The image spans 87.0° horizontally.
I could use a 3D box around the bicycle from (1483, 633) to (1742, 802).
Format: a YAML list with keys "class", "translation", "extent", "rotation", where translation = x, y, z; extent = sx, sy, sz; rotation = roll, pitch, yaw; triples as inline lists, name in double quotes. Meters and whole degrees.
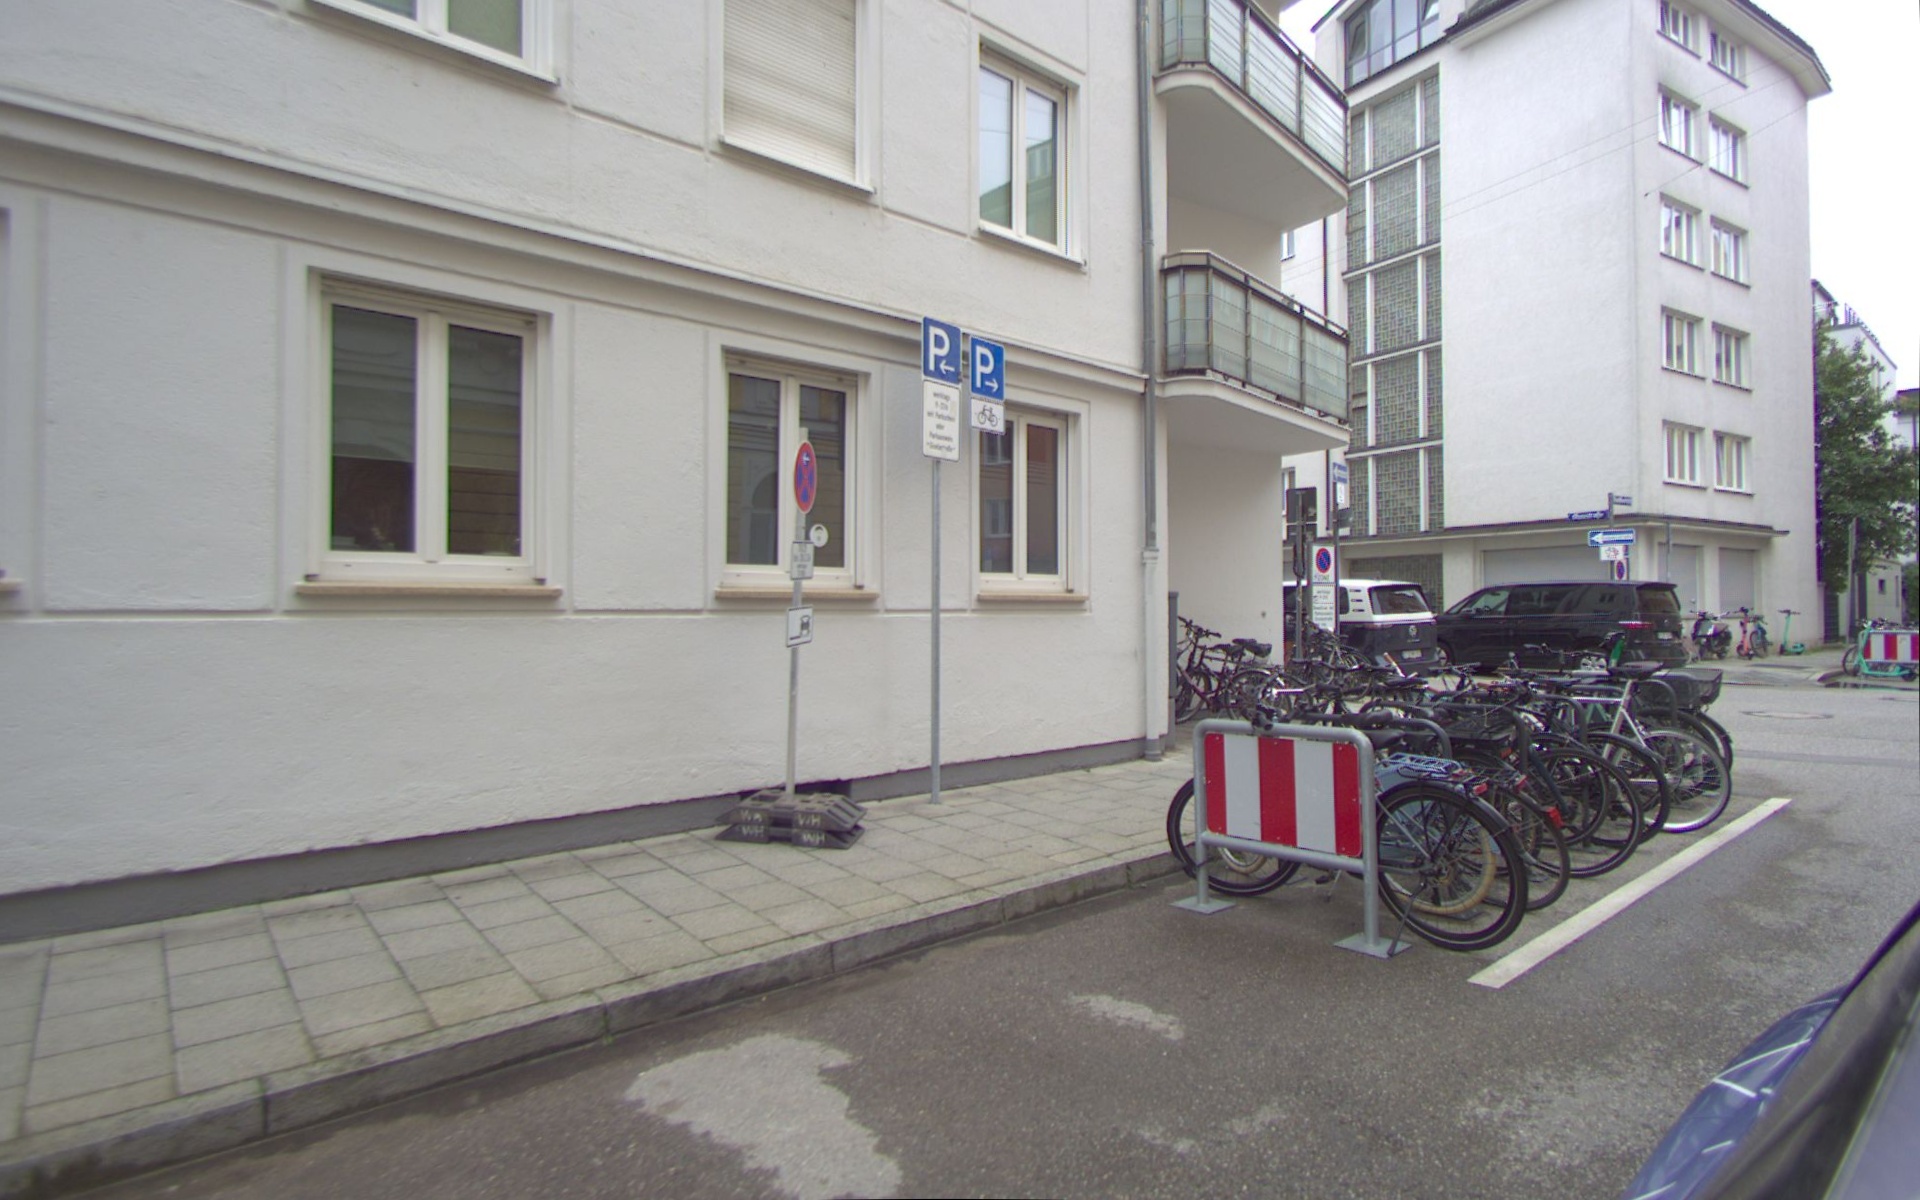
- class: "bicycle"
  translation: [5.131, 0.873, 8.063]
  extent: [0.372, 1.175, 1.698]
  rotation: [0, -1, -41]

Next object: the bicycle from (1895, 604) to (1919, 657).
- class: "bicycle"
  translation: [22.713, 0.706, 23.356]
  extent: [0.519, 1.229, 1.608]
  rotation: [0, 0, -38]

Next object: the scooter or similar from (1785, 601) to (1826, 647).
- class: "scooter or similar"
  translation: [22.383, 0.627, 26.786]
  extent: [1.464, 1.181, 0.407]
  rotation: [0, 0, -33]

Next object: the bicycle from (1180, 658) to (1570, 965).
- class: "bicycle"
  translation: [1.832, 0.873, 4.726]
  extent: [0.353, 1.056, 1.706]
  rotation: [0, 2, -40]

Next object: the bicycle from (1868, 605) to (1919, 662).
- class: "bicycle"
  translation: [20.802, 0.723, 21.939]
  extent: [0.519, 1.229, 1.608]
  rotation: [0, 0, -38]

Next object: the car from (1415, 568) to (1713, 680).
- class: "car"
  translation: [11.620, 0.415, 19.842]
  extent: [1.896, 1.915, 4.685]
  rotation: [1, 0, -32]

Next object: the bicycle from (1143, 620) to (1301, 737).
- class: "bicycle"
  translation: [2.634, 0.762, 10.244]
  extent: [1.489, 1.056, 0.395]
  rotation: [2, 1, 32]

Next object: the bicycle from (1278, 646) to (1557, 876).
- class: "bicycle"
  translation: [2.599, 0.859, 5.919]
  extent: [0.353, 1.056, 1.523]
  rotation: [0, 2, -32]

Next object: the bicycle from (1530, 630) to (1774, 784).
- class: "bicycle"
  translation: [5.943, 0.871, 8.782]
  extent: [0.411, 1.175, 1.698]
  rotation: [0, -1, -41]

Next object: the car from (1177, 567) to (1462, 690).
- class: "car"
  translation: [6.220, 0.440, 18.099]
  extent: [1.896, 1.896, 4.623]
  rotation: [0, 0, -32]

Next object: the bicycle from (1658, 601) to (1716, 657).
- class: "bicycle"
  translation: [16.564, 0.651, 23.047]
  extent: [1.578, 1.229, 0.529]
  rotation: [0, 0, -33]

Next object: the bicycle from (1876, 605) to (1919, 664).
- class: "bicycle"
  translation: [20.517, 0.728, 21.419]
  extent: [0.519, 1.229, 1.608]
  rotation: [0, 0, -38]

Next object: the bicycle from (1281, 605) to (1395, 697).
- class: "bicycle"
  translation: [5.535, 0.716, 14.901]
  extent: [0.463, 1.229, 1.611]
  rotation: [0, 2, -32]

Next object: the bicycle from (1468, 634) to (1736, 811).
- class: "bicycle"
  translation: [4.862, 0.876, 7.776]
  extent: [0.372, 1.175, 1.698]
  rotation: [0, -1, -41]

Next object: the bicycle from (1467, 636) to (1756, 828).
- class: "bicycle"
  translation: [4.581, 0.874, 7.236]
  extent: [0.372, 1.175, 1.698]
  rotation: [0, -1, -41]

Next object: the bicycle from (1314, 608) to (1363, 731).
- class: "bicycle"
  translation: [4.206, 0.725, 11.198]
  extent: [0.395, 1.219, 1.494]
  rotation: [1, 1, 24]

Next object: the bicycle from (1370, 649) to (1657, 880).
- class: "bicycle"
  translation: [3.112, 0.867, 5.825]
  extent: [0.353, 1.056, 1.444]
  rotation: [0, 2, -32]

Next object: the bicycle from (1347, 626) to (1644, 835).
- class: "bicycle"
  translation: [3.436, 0.777, 6.635]
  extent: [0.372, 1.175, 1.698]
  rotation: [0, -1, -41]

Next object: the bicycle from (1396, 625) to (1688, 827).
- class: "bicycle"
  translation: [3.834, 0.770, 6.791]
  extent: [0.372, 1.175, 1.664]
  rotation: [0, -1, -41]

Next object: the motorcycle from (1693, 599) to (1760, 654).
- class: "motorcycle"
  translation: [18.171, 0.611, 23.976]
  extent: [1.898, 1.248, 0.661]
  rotation: [0, 0, -33]

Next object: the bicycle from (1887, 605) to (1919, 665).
- class: "bicycle"
  translation: [20.245, 0.733, 20.870]
  extent: [0.519, 1.229, 1.608]
  rotation: [0, 0, -38]

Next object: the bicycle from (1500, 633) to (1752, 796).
- class: "bicycle"
  translation: [5.398, 0.877, 8.307]
  extent: [0.308, 1.175, 1.698]
  rotation: [0, -1, -41]

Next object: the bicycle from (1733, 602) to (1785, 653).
- class: "bicycle"
  translation: [19.849, 0.658, 25.135]
  extent: [1.578, 1.229, 0.529]
  rotation: [0, 0, -33]

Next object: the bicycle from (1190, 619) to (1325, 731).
- class: "bicycle"
  translation: [3.101, 0.761, 10.598]
  extent: [1.285, 1.056, 0.395]
  rotation: [2, 1, 32]

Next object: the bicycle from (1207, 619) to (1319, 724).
- class: "bicycle"
  translation: [3.353, 0.771, 11.226]
  extent: [1.119, 1.056, 0.395]
  rotation: [2, 1, 32]

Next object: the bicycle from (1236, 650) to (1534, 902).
- class: "bicycle"
  translation: [2.229, 0.865, 5.518]
  extent: [0.316, 1.056, 1.594]
  rotation: [0, 2, -32]

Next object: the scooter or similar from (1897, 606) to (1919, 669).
- class: "scooter or similar"
  translation: [19.292, 0.743, 19.826]
  extent: [0.338, 1.229, 1.341]
  rotation: [0, 0, -38]

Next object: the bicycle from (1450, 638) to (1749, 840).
- class: "bicycle"
  translation: [4.312, 0.877, 6.948]
  extent: [0.372, 1.175, 1.698]
  rotation: [0, -1, -41]

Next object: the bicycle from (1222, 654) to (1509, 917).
- class: "bicycle"
  translation: [2.017, 0.867, 5.218]
  extent: [0.323, 1.056, 1.442]
  rotation: [0, 2, -32]

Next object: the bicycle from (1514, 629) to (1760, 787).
- class: "bicycle"
  translation: [5.636, 0.855, 8.528]
  extent: [0.308, 1.175, 1.698]
  rotation: [0, -1, -41]
